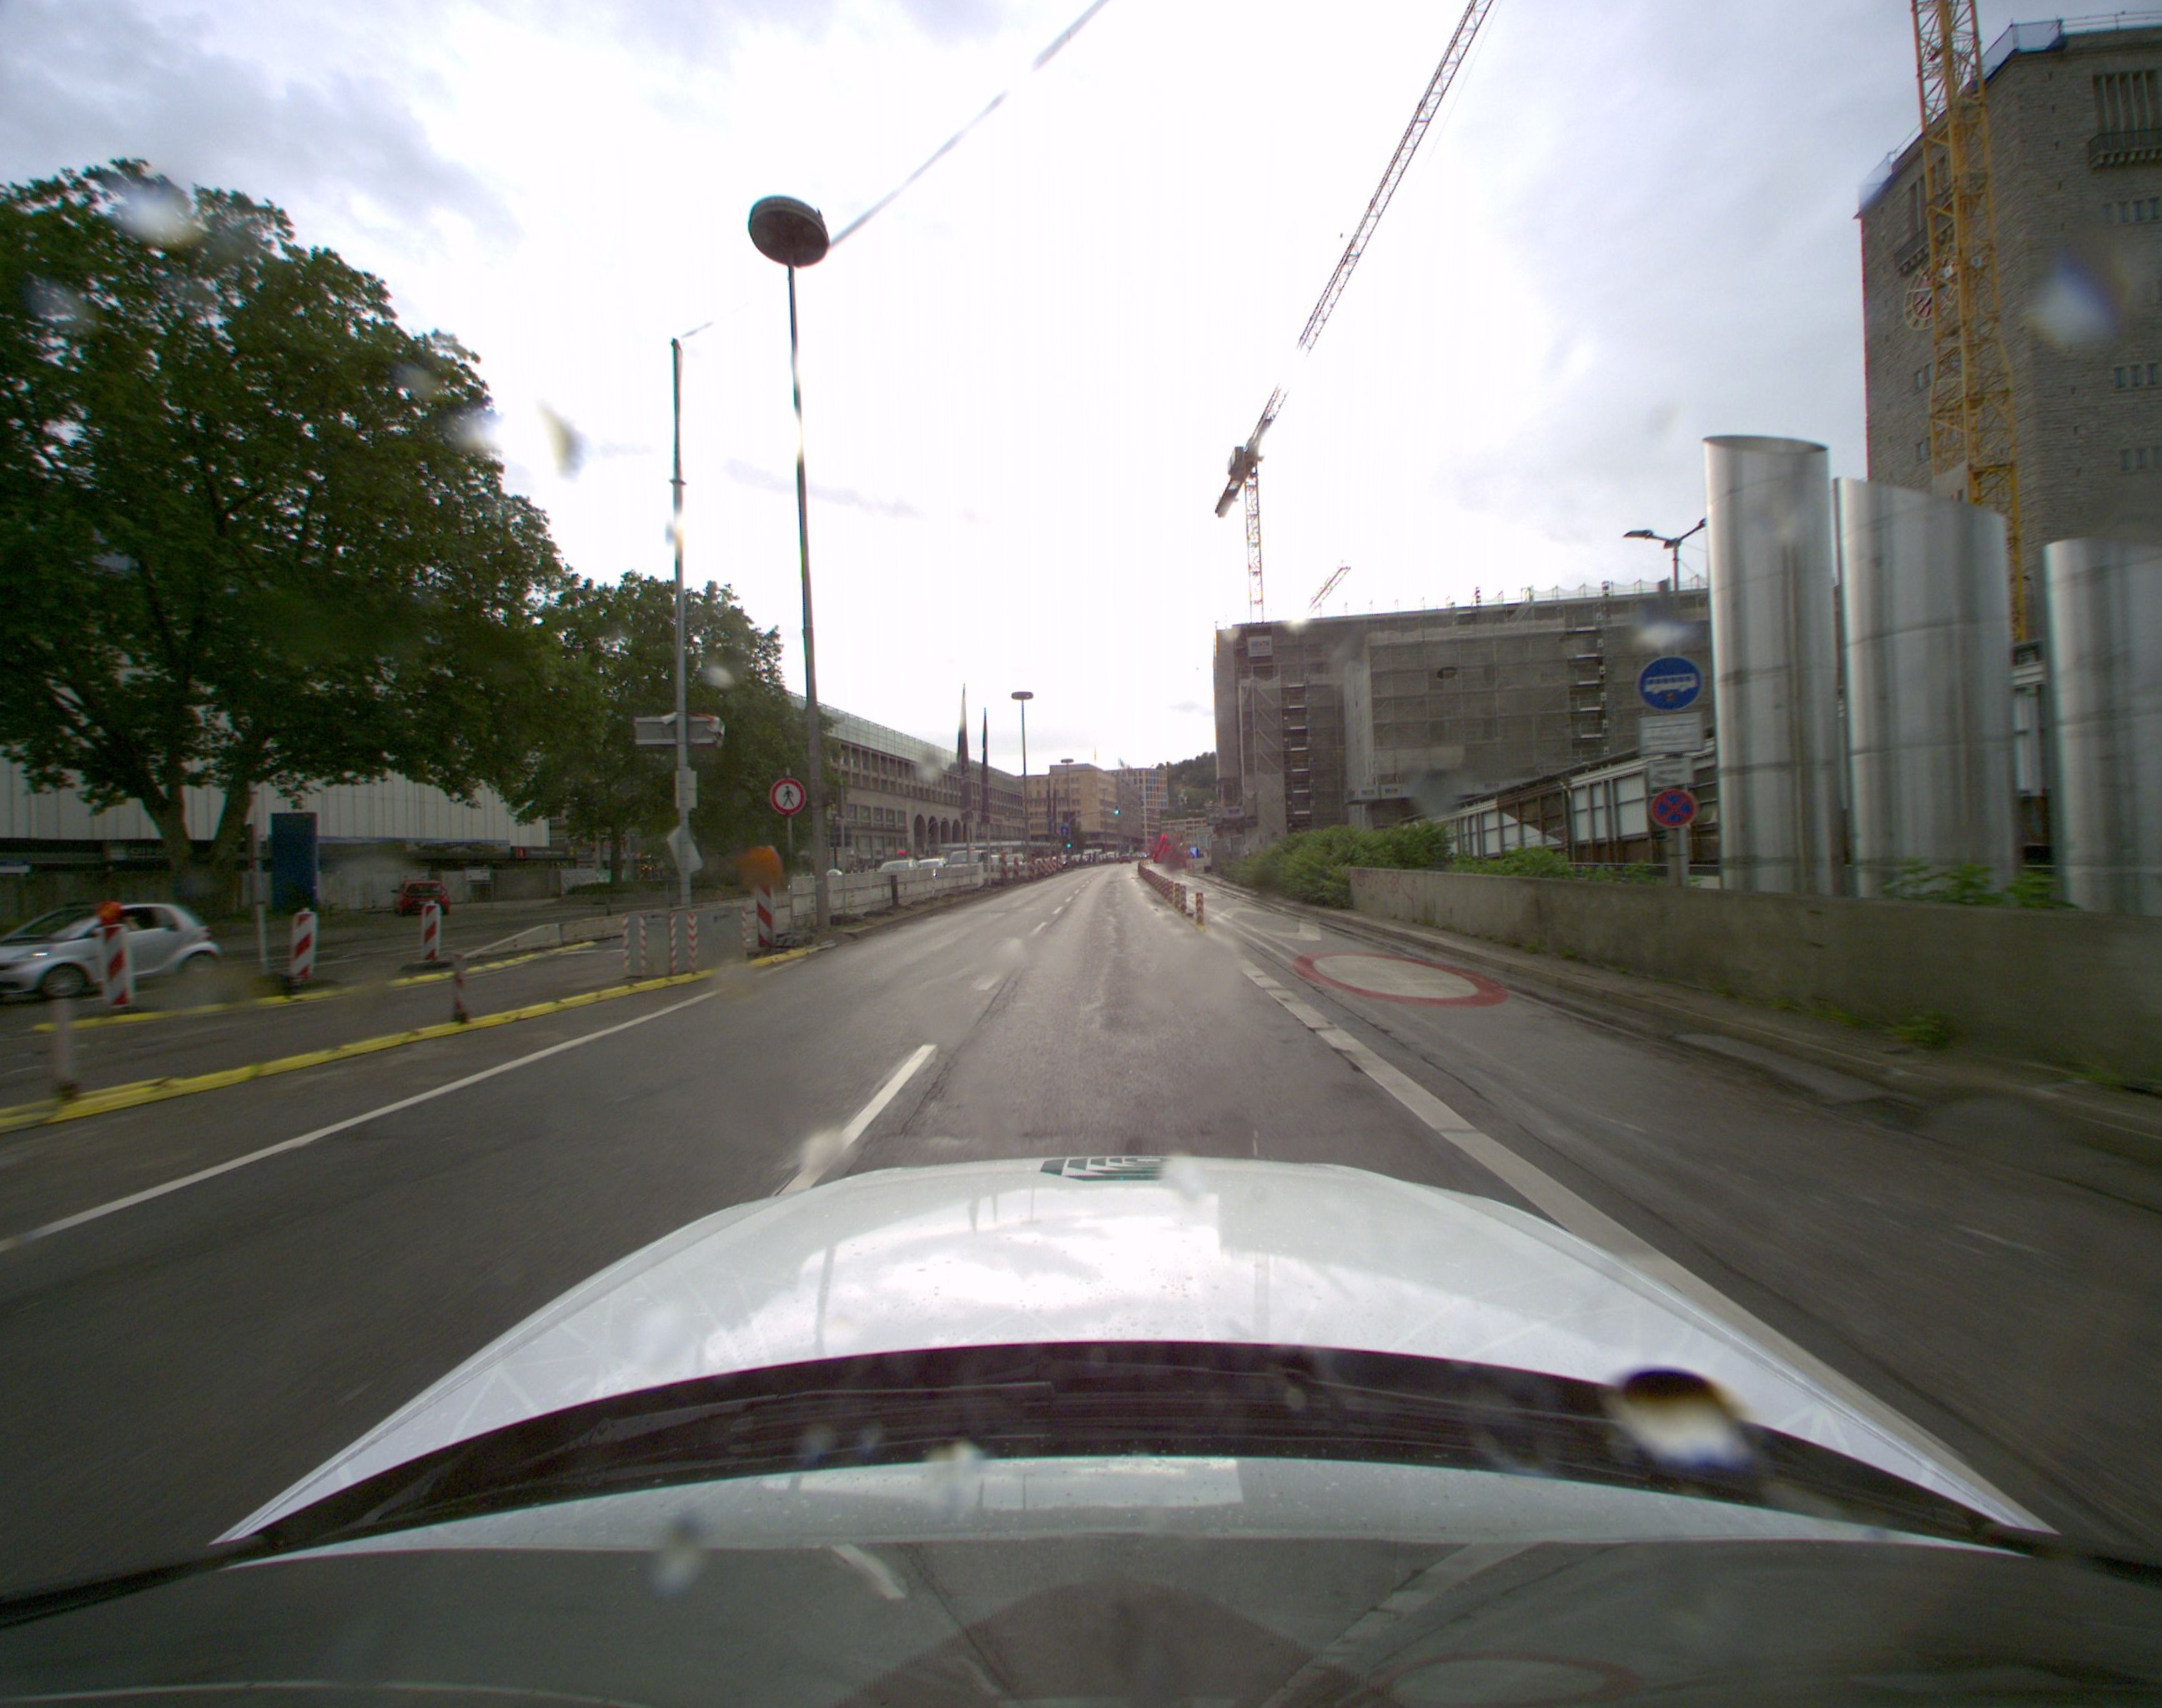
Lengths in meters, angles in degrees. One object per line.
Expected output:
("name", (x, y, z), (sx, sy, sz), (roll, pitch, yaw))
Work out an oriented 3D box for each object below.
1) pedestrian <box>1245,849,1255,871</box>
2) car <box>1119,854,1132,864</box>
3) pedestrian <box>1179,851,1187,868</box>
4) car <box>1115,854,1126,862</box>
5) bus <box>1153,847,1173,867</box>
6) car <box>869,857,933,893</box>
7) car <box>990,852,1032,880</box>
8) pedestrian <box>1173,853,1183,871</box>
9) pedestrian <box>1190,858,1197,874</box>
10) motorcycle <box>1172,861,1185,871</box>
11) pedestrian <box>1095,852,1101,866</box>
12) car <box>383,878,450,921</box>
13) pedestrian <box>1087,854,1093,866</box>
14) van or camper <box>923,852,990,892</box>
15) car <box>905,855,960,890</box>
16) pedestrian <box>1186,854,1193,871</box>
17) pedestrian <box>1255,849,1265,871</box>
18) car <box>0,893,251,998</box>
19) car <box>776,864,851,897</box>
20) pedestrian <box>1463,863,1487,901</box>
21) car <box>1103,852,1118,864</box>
("pedestrian", (14.673, 0.519, 70.768), (0.669, 1.832, 1.015), (-1, -2, 2))
("car", (7.385, 0.811, 135.173), (1.985, 1.552, 4.003), (-2, -2, 3))
("pedestrian", (11.082, 0.599, 88.363), (0.557, 1.759, 0.750), (-4, -2, -5))
("car", (8.398, 0.789, 172.946), (1.983, 1.552, 4.007), (-2, -2, 6))
("bus", (13.630, 0.599, 135.305), (2.739, 3.069, 9.102), (-1, -1, 9))
("car", (-8.980, 1.004, 41.009), (1.881, 1.702, 4.308), (0, -1, 6))
("car", (-4.872, 0.846, 57.512), (1.983, 1.817, 4.819), (-2, 0, 6))
("pedestrian", (9.937, 0.815, 83.358), (0.584, 1.741, 0.813), (-1, -2, -35))
("pedestrian", (11.377, 1.216, 82.405), (0.555, 1.651, 0.616), (-5, -2, 9))
("motorcycle", (9.957, 1.234, 83.337), (0.589, 1.021, 1.226), (-1, -1, -34))
("pedestrian", (2.449, 0.748, 114.763), (0.719, 2.008, 0.774), (-1, -1, 8))
("car", (-28.908, 1.909, 35.411), (3.698, 1.542, 1.863), (1, 3, 45))
("pedestrian", (1.324, 0.860, 115.050), (0.694, 1.755, 0.713), (-2, -1, 8))
("van or camper", (-6.215, 0.906, 41.270), (1.935, 1.819, 5.400), (-3, -1, 6))
("car", (-8.742, 1.052, 48.302), (1.905, 1.851, 4.572), (4, 0, 5))
("pedestrian", (11.318, 0.881, 85.259), (0.554, 1.752, 0.713), (-5, -2, 9))
("pedestrian", (15.575, 0.513, 70.794), (0.669, 1.832, 1.015), (-1, -2, 2))
("car", (-17.293, 1.550, 14.486), (1.670, 1.543, 3.178), (-3, -2, 5))
("car", (-14.335, 1.400, 43.949), (1.983, 1.632, 4.826), (0, -1, 6))
("pedestrian", (19.109, 1.346, 39.491), (0.669, 1.832, 1.015), (-1, -2, 2))
("car", (5.673, 0.816, 154.817), (1.981, 2.179, 5.559), (-2, -1, 10))
